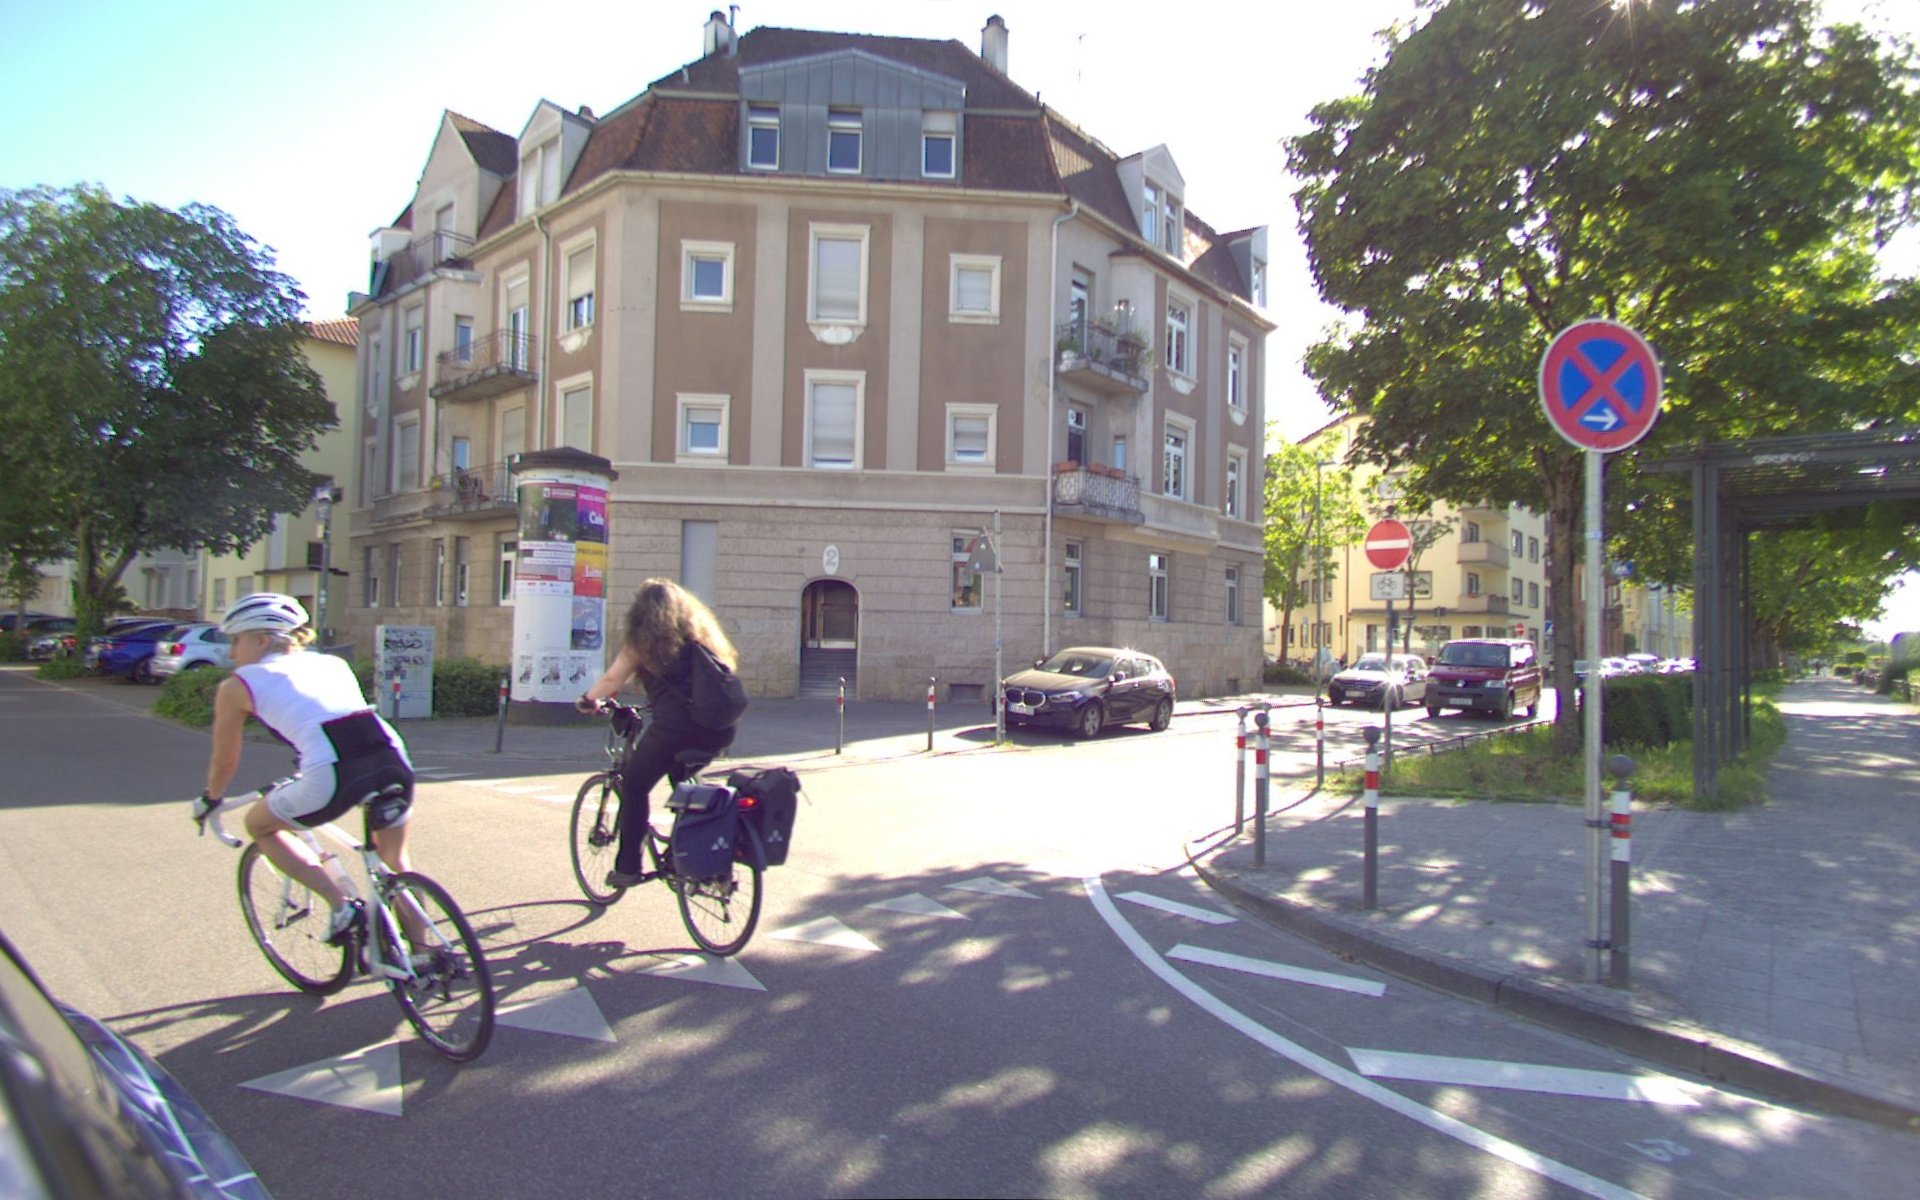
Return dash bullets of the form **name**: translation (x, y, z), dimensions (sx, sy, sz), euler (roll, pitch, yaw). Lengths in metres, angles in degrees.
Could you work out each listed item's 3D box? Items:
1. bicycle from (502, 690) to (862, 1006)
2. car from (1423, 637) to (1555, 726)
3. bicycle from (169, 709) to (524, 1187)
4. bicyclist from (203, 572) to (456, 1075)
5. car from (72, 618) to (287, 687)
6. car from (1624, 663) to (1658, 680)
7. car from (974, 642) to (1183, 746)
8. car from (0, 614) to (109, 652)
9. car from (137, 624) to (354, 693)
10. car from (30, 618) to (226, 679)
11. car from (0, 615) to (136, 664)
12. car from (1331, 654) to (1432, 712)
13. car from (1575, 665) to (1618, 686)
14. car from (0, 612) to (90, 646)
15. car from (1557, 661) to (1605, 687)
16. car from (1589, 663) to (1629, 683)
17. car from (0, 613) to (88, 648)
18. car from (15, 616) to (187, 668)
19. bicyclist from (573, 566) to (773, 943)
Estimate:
- **bicycle**: translation (-1.419, 1.047, 4.886), dimensions (2.065, 1.117, 0.636), euler (-1, -3, 42)
- **car**: translation (13.524, 2.021, 25.728), dimensions (1.896, 1.975, 4.819), euler (1, -2, 41)
- **bicycle**: translation (-2.116, 0.978, 3.385), dimensions (1.708, 1.097, 0.500), euler (0, -3, 42)
- **bicyclist**: translation (-2.123, 0.668, 3.405), dimensions (0.687, 1.475, 0.491), euler (-1, -4, 42)
- **car**: translation (-18.538, 1.217, 24.169), dimensions (1.690, 1.506, 3.743), euler (-1, -2, 38)
- **car**: translation (47.975, 5.028, 71.281), dimensions (1.679, 1.141, 3.700), euler (-1, -4, 39)
- **car**: translation (2.205, 1.598, 17.953), dimensions (1.866, 1.494, 3.964), euler (3, -1, 38)
- **car**: translation (-37.732, 1.372, 41.706), dimensions (1.689, 1.506, 3.745), euler (-1, -2, 35)
- **car**: translation (-16.376, 1.302, 23.345), dimensions (1.690, 1.456, 3.743), euler (-1, -2, 38)
- **car**: translation (-22.482, 1.285, 27.505), dimensions (1.684, 1.506, 3.756), euler (0, -2, 27)
- **car**: translation (-29.694, 1.278, 33.192), dimensions (1.684, 1.506, 3.756), euler (0, -2, 27)
- **car**: translation (12.143, 2.327, 29.017), dimensions (1.679, 1.426, 3.855), euler (3, -1, 38)
- **car**: translation (36.216, 4.277, 57.557), dimensions (1.679, 1.141, 3.700), euler (-1, -4, 39)
- **car**: translation (-42.856, 1.348, 46.938), dimensions (1.689, 1.506, 3.488), euler (-1, -2, 35)
- **car**: translation (32.827, 3.873, 53.468), dimensions (1.679, 1.271, 3.751), euler (-1, -4, 39)
- **car**: translation (39.984, 4.470, 62.338), dimensions (1.679, 1.141, 3.700), euler (-1, -4, 39)
- **car**: translation (-41.087, 1.356, 44.760), dimensions (1.689, 1.506, 3.488), euler (-1, -2, 35)
- **car**: translation (-26.930, 1.302, 31.841), dimensions (1.684, 1.506, 3.756), euler (0, -2, 27)
- **bicyclist**: translation (-1.369, 0.687, 4.858), dimensions (0.637, 1.632, 0.636), euler (-1, -4, 42)
